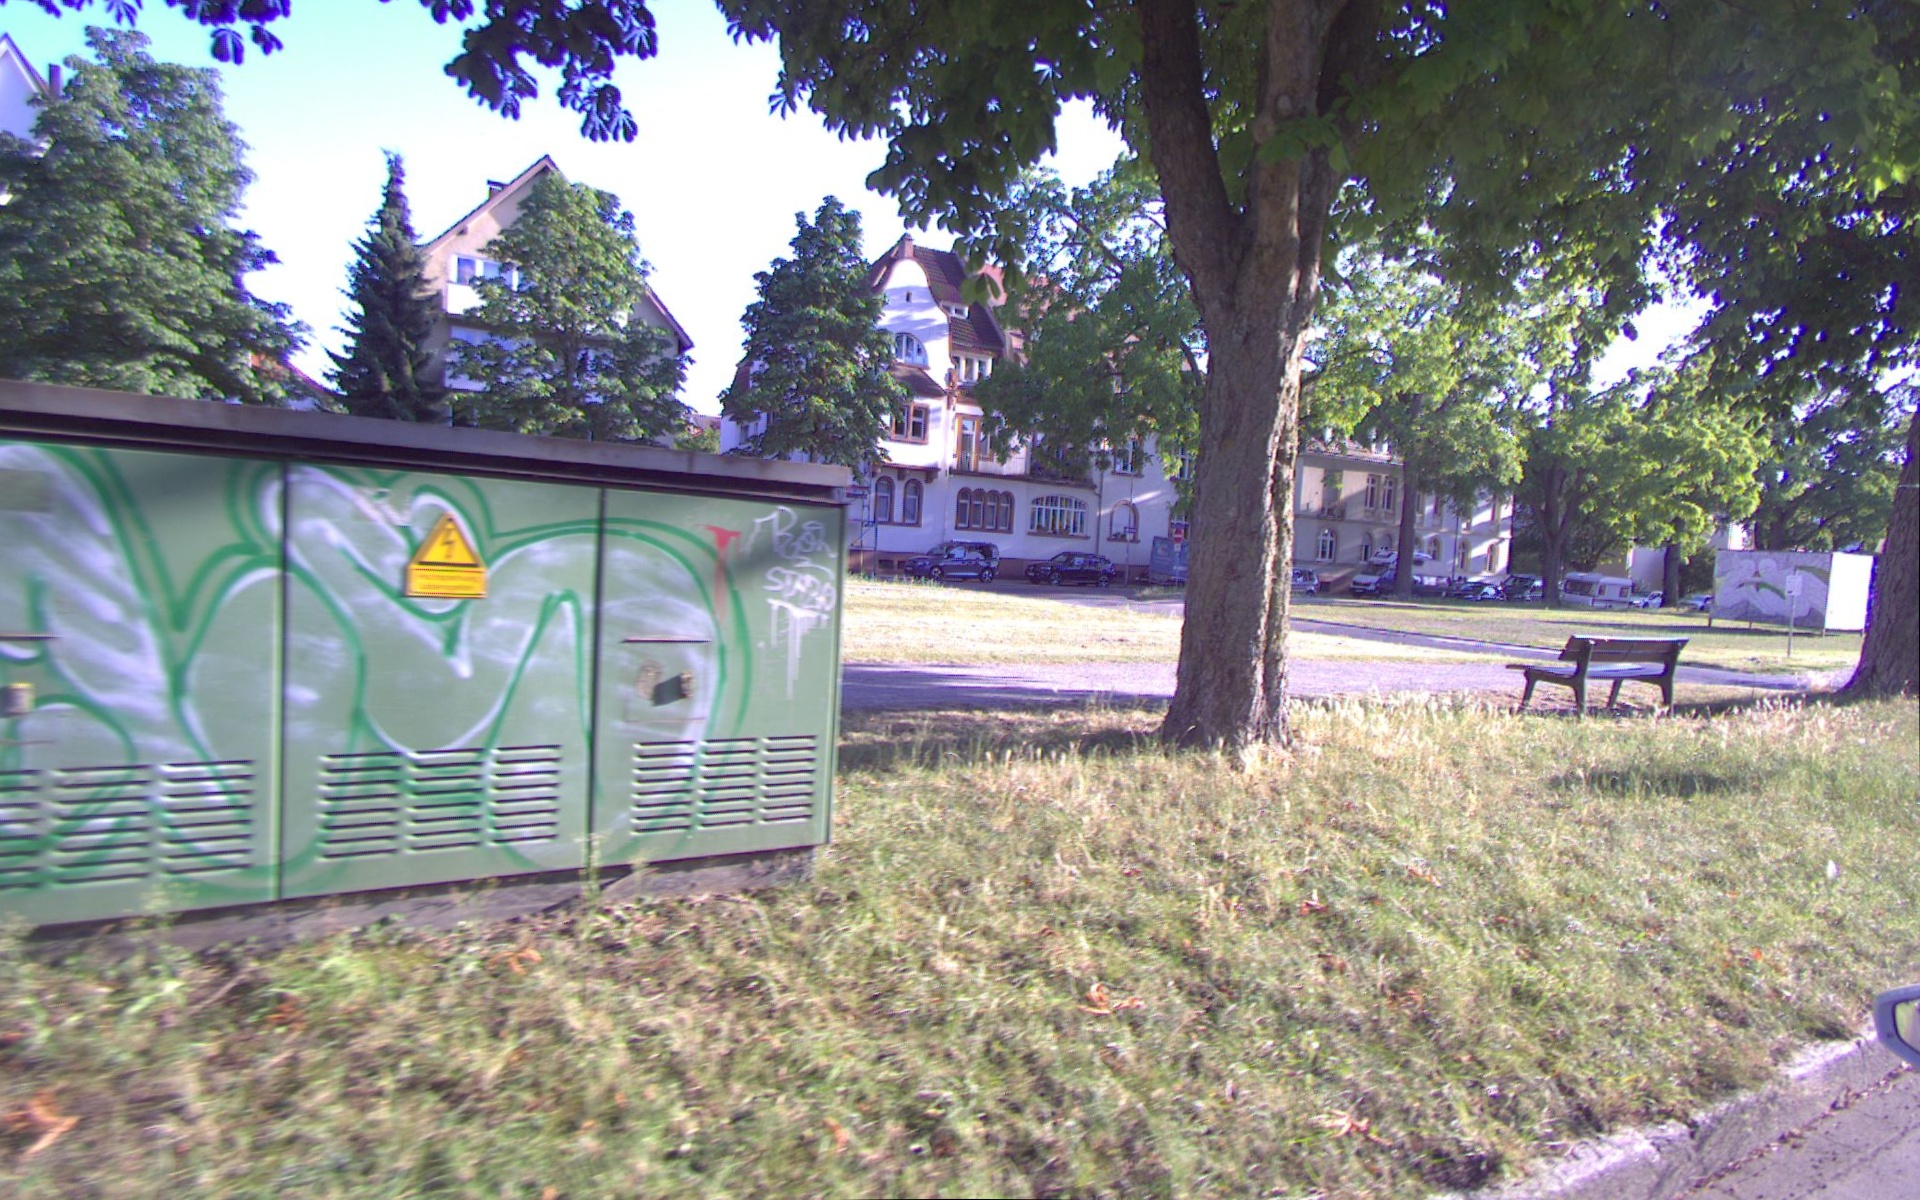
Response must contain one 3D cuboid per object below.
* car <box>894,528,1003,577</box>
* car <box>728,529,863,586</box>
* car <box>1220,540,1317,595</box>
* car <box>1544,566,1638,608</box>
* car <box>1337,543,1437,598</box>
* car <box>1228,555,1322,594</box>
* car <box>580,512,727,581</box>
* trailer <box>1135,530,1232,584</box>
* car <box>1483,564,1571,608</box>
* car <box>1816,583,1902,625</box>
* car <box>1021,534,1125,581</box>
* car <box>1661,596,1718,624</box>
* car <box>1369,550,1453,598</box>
[{"bbox_3d":[-0.494,-2.128,44.855,4.447,1.901,1.982,2,3,-33],"label":"car"},{"bbox_3d":[-5.749,-1.487,35.149,4.203,1.671,1.984,2,4,-29],"label":"car"},{"bbox_3d":[16.918,-1.768,55.082,5.125,2.709,1.984,2,3,-30],"label":"car"},{"bbox_3d":[38.615,-0.786,61.456,5.394,2.267,2.522,1,3,-30],"label":"car"},{"bbox_3d":[25.606,-1.719,60.200,5.750,2.961,2.426,2,1,-30],"label":"car"},{"bbox_3d":[14.732,-1.175,46.984,4.262,1.580,1.677,2,3,-30],"label":"car"},{"bbox_3d":[-9.904,-1.725,32.467,4.203,1.885,1.984,2,4,-29],"label":"car"},{"bbox_3d":[11.534,-2.208,51.864,4.668,2.461,1.984,2,3,-30],"label":"trailer"},{"bbox_3d":[32.575,-0.786,57.657,5.126,2.280,1.983,2,3,-30],"label":"car"},{"bbox_3d":[73.535,0.336,82.168,6.810,3.033,3.145,2,1,-29],"label":"car"},{"bbox_3d":[5.505,-2.032,48.646,4.697,1.979,1.983,2,3,-31],"label":"car"},{"bbox_3d":[57.939,0.778,79.740,4.432,2.040,1.984,2,1,-30],"label":"car"},{"bbox_3d":[23.399,-1.345,52.103,4.262,2.205,1.677,2,3,-30],"label":"car"}]
